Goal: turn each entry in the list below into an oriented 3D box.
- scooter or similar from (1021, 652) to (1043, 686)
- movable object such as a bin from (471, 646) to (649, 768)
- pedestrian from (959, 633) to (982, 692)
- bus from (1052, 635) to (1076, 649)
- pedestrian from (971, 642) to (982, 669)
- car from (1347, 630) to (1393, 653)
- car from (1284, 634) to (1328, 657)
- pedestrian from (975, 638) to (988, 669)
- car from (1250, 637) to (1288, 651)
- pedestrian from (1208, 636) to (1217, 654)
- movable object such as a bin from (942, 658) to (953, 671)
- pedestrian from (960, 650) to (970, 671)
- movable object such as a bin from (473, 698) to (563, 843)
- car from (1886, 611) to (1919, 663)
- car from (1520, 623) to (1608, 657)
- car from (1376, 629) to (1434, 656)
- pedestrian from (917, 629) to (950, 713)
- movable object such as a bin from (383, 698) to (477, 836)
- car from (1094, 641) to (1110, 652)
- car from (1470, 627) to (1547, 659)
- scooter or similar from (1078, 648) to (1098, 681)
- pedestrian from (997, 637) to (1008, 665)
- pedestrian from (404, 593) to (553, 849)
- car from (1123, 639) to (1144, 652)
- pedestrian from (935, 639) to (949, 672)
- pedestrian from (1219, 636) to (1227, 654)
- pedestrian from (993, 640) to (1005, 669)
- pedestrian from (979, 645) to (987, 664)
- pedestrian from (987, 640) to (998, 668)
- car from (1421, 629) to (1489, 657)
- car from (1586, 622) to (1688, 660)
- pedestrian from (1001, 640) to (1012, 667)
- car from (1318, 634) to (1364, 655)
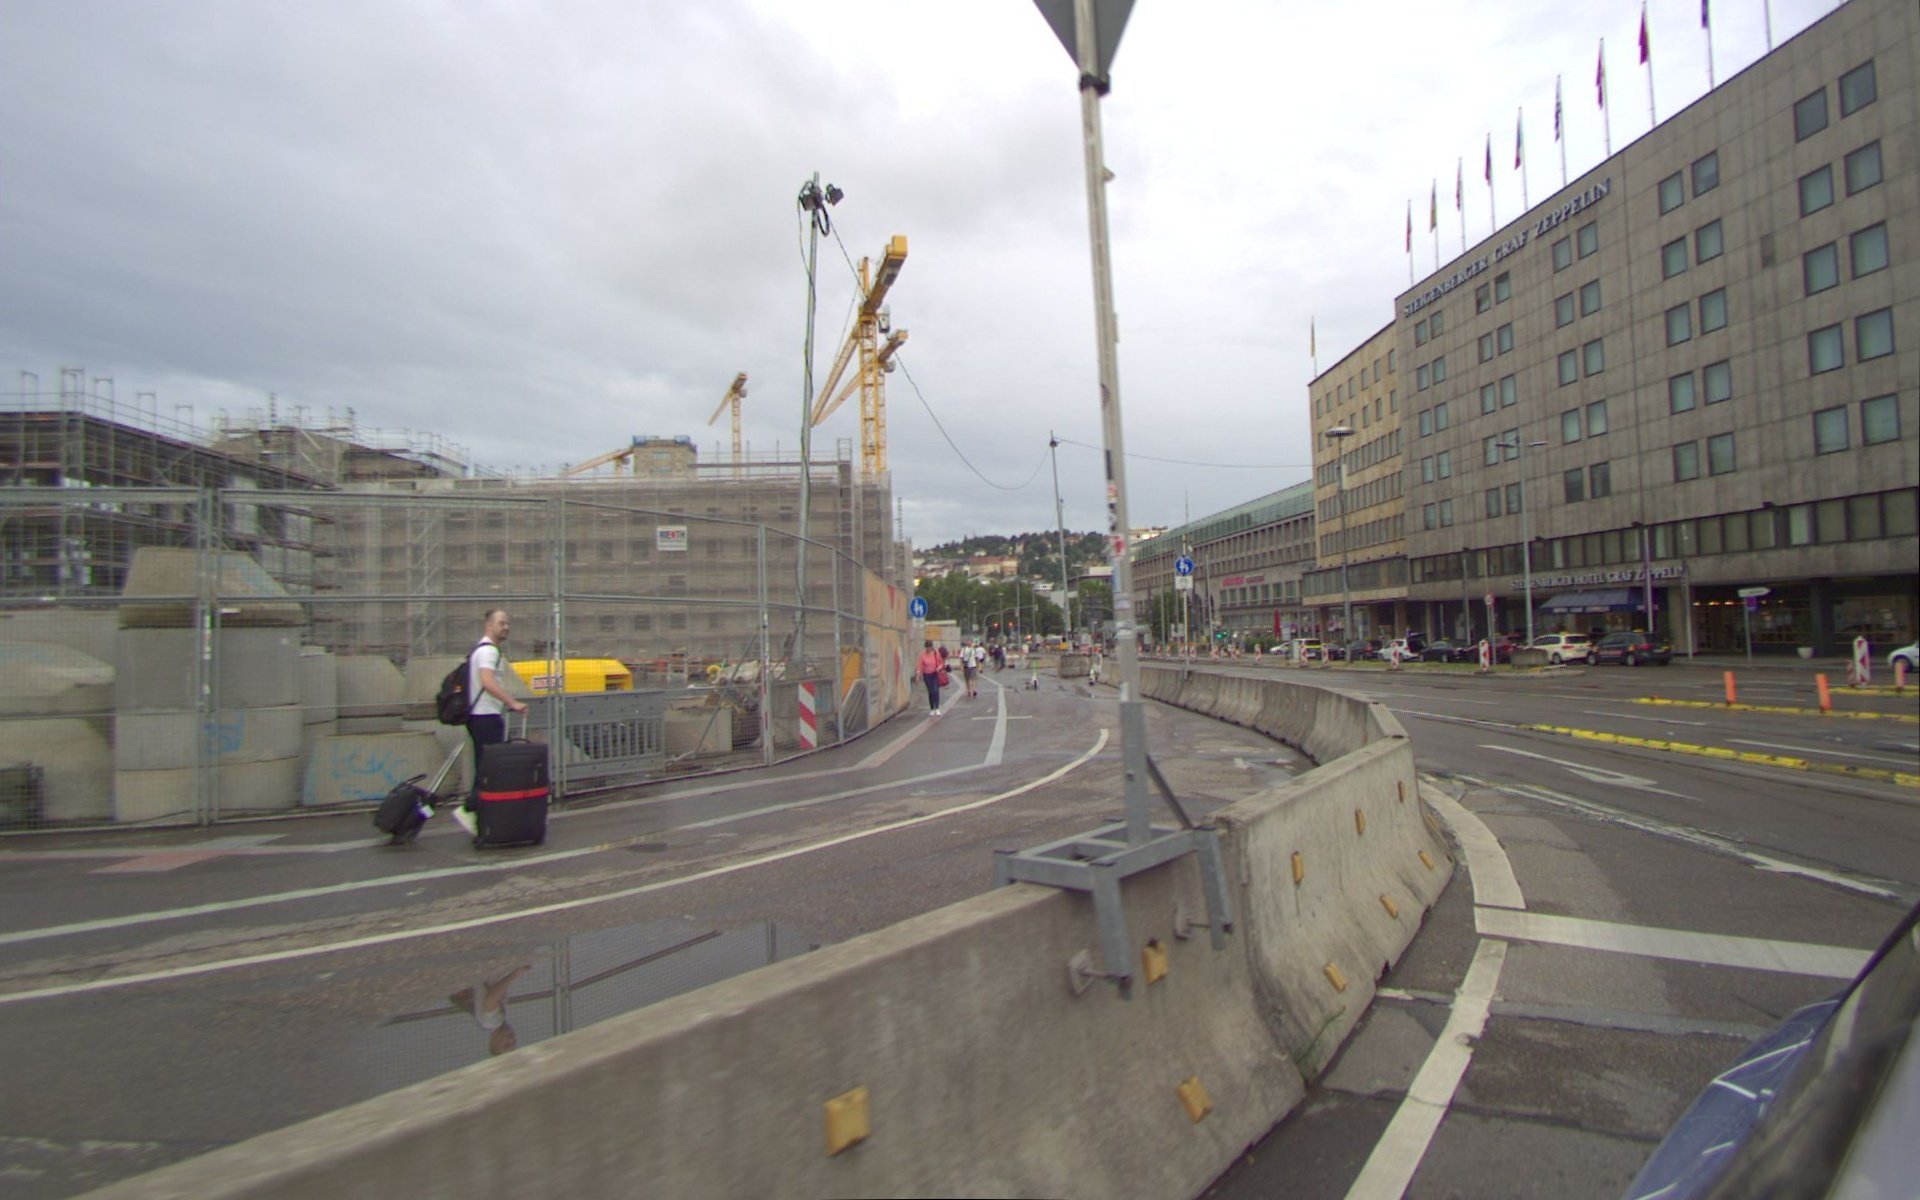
[{"bbox_3d":[2.622,2.521,36.919,0.459,1.199,1.416,-1,-3,-9],"label":"scooter or similar"},{"bbox_3d":[-5.261,1.376,13.428,1.862,1.490,1.185,0,-2,6],"label":"movable object such as a bin"},{"bbox_3d":[0.347,2.067,33.378,0.692,1.891,0.989,-2,-3,1],"label":"pedestrian"},{"bbox_3d":[21.689,8.809,212.028,2.852,2.979,9.829,-1,-2,-6],"label":"bus"},{"bbox_3d":[1.190,3.980,72.392,0.672,1.914,0.693,-1,-3,-2],"label":"pedestrian"},{"bbox_3d":[31.423,3.233,77.699,1.726,1.704,4.226,-1,-3,0],"label":"car"},{"bbox_3d":[30.998,4.132,90.805,1.868,1.954,5.076,-1,-4,-4],"label":"car"},{"bbox_3d":[1.252,3.116,59.082,0.672,1.763,0.907,-1,-3,-1],"label":"pedestrian"},{"bbox_3d":[37.456,5.321,122.663,4.018,1.661,1.804,-2,-3,2],"label":"car"},{"bbox_3d":[29.062,5.154,116.562,0.692,2.040,0.807,-1,-3,-3],"label":"pedestrian"},{"bbox_3d":[-0.755,3.871,61.112,0.587,0.744,0.777,-1,-3,0],"label":"movable object such as a bin"},{"bbox_3d":[0.478,5.488,92.154,0.835,1.920,0.661,-2,-3,1],"label":"pedestrian"},{"bbox_3d":[-3.413,1.290,7.812,0.430,1.029,0.514,-4,-4,43],"label":"movable object such as a bin"},{"bbox_3d":[34.240,1.219,34.125,1.745,1.786,4.372,-1,-3,-4],"label":"car"},{"bbox_3d":[32.800,2.178,55.129,1.786,1.720,4.579,-1,-2,-3],"label":"car"},{"bbox_3d":[31.720,3.028,72.343,1.725,1.781,4.713,-1,-2,-4],"label":"car"},{"bbox_3d":[-0.621,1.622,23.417,0.708,1.891,0.709,-1,-3,-1],"label":"pedestrian"},{"bbox_3d":[-4.343,1.340,8.294,0.517,1.029,0.545,-4,-4,43],"label":"movable object such as a bin"},{"bbox_3d":[22.918,7.557,163.527,1.745,1.691,4.499,0,-3,-2],"label":"car"},{"bbox_3d":[32.649,2.559,60.365,1.871,1.791,4.645,-1,-2,-2],"label":"car"},{"bbox_3d":[4.896,2.464,38.880,0.665,1.230,1.568,-2,-3,5],"label":"scooter or similar"},{"bbox_3d":[2.981,3.570,70.909,0.673,1.914,0.692,-2,-3,2],"label":"pedestrian"},{"bbox_3d":[-3.867,0.919,8.124,0.999,1.890,0.766,-4,-4,43],"label":"pedestrian"},{"bbox_3d":[24.720,6.476,144.282,1.793,1.691,4.501,-1,-3,-4],"label":"car"},{"bbox_3d":[-1.069,3.316,60.823,0.755,1.920,0.653,-2,-3,2],"label":"pedestrian"},{"bbox_3d":[29.838,5.096,114.799,0.579,1.950,0.752,-1,-3,-4],"label":"pedestrian"},{"bbox_3d":[2.362,3.324,61.958,0.632,1.763,0.837,-1,-3,-1],"label":"pedestrian"},{"bbox_3d":[2.410,5.766,106.985,0.775,2.038,0.863,-2,-3,6],"label":"pedestrian"},{"bbox_3d":[2.291,3.804,70.955,0.673,1.914,0.692,-2,-3,2],"label":"pedestrian"},{"bbox_3d":[32.252,2.825,66.080,1.871,1.681,4.617,-2,-3,-3],"label":"car"},{"bbox_3d":[33.182,2.031,49.782,1.787,1.750,4.513,-1,-2,-2],"label":"car"},{"bbox_3d":[3.604,4.157,78.967,0.790,2.043,0.971,-2,-3,2],"label":"pedestrian"},{"bbox_3d":[31.249,3.669,83.138,1.725,1.642,4.566,-1,-2,-4],"label":"car"}]
